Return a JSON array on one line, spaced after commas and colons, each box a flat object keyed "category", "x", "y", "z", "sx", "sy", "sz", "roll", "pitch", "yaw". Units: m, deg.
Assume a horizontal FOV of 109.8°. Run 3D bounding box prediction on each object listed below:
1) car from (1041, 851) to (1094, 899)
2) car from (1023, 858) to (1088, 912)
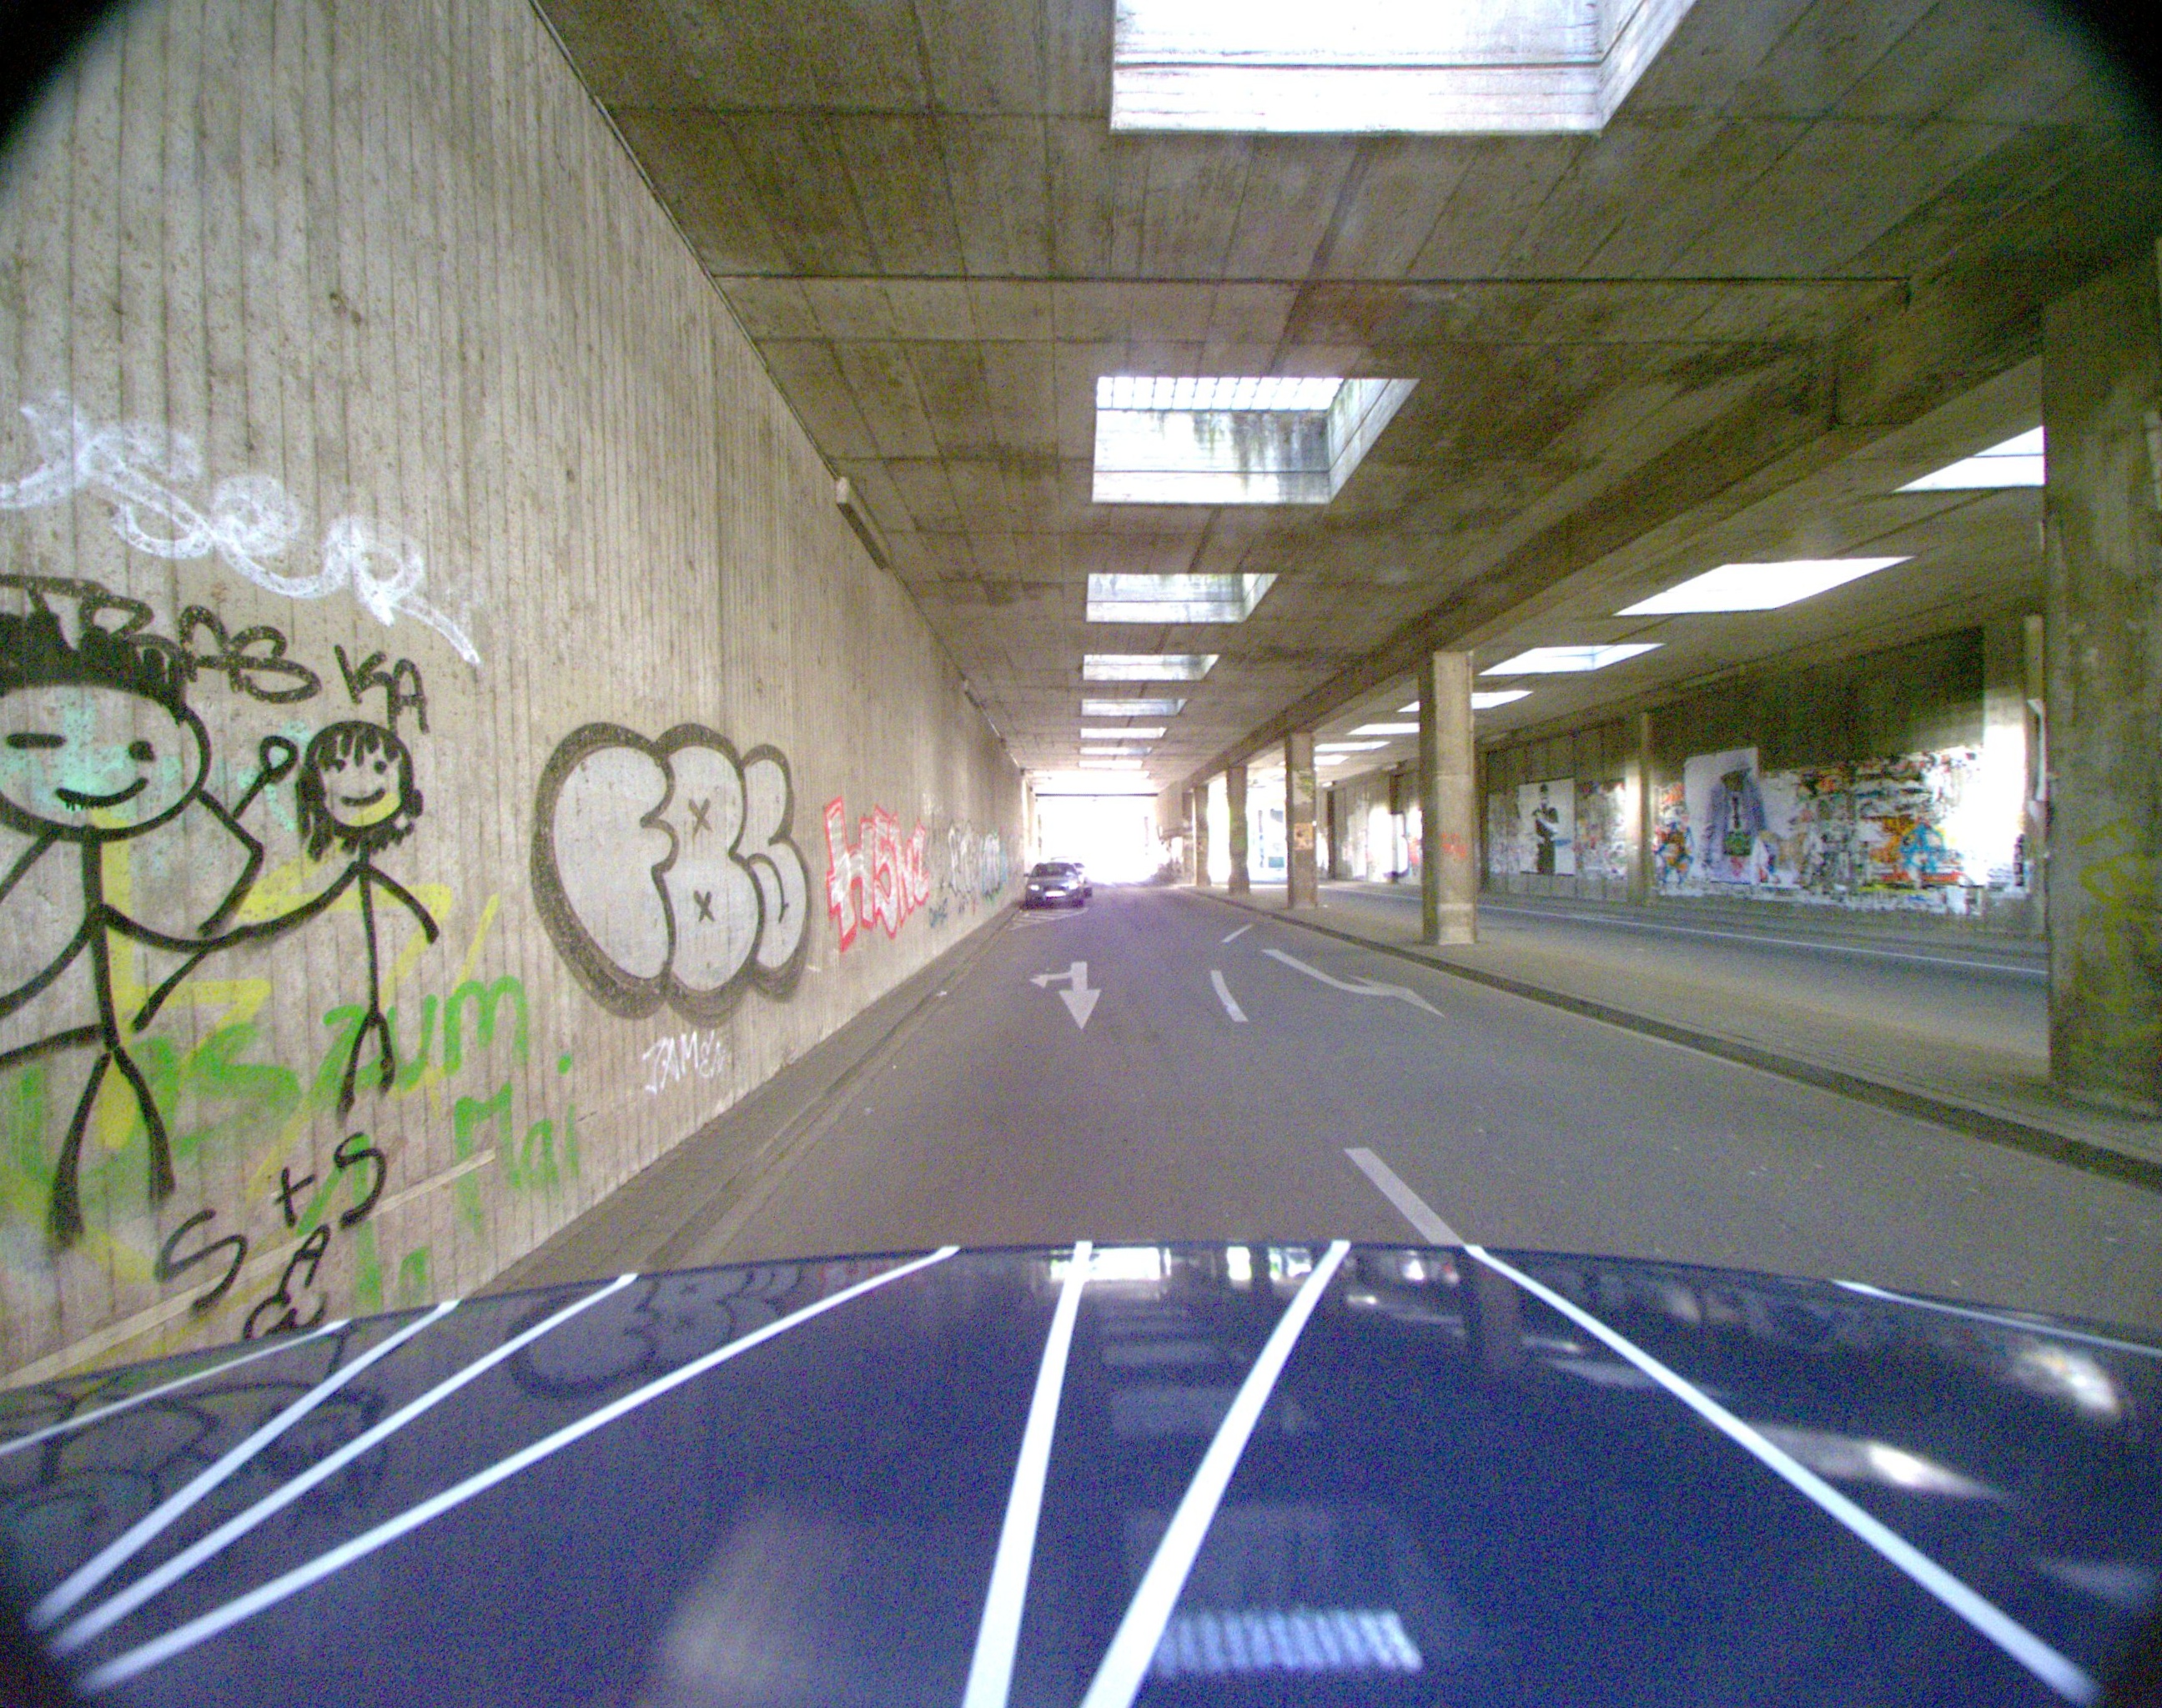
[{"category": "car", "x": -0.469, "y": 0.764, "z": 29.837, "sx": 1.861, "sy": 1.709, "sz": 4.000, "roll": -2, "pitch": 0, "yaw": 1}, {"category": "car", "x": -0.722, "y": 0.913, "z": 24.068, "sx": 1.808, "sy": 1.460, "sz": 4.000, "roll": -2, "pitch": 0, "yaw": 1}]
